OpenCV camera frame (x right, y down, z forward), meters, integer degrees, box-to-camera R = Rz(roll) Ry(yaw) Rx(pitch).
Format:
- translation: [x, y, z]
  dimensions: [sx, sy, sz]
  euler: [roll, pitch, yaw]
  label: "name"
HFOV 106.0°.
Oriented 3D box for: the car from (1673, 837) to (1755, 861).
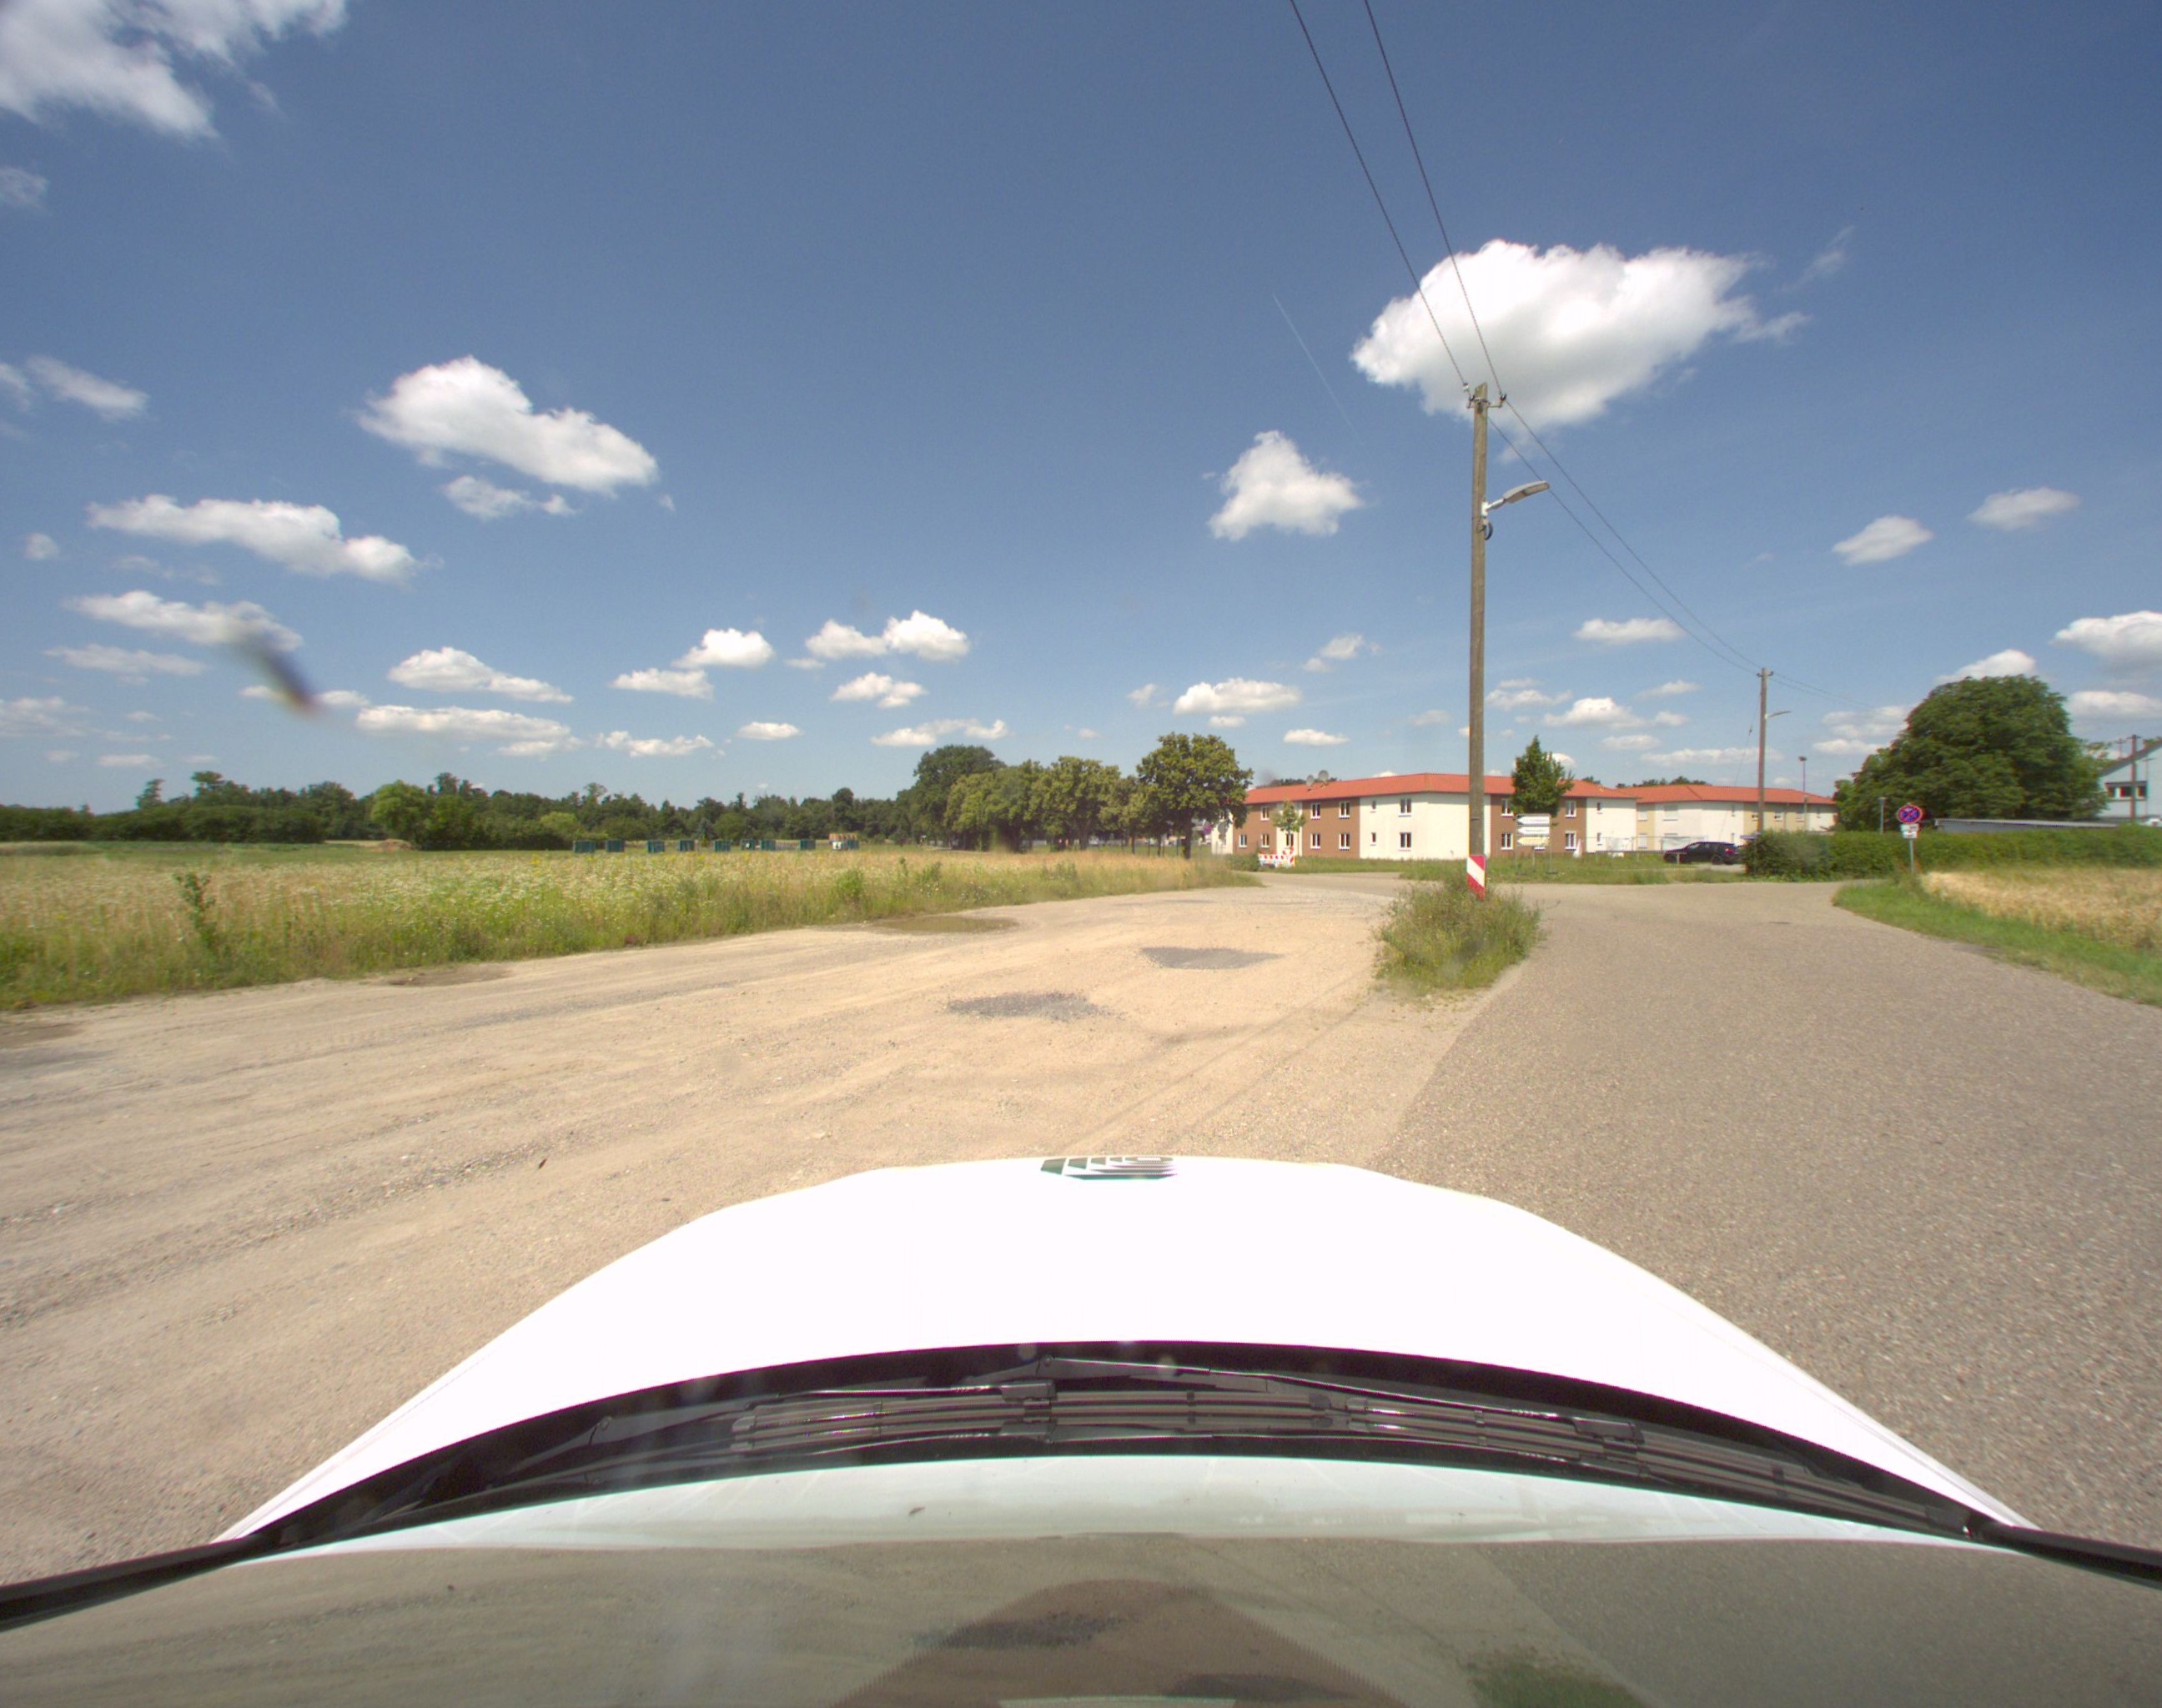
- translation: [44.581, -0.400, 57.436]
  dimensions: [2.003, 1.614, 4.116]
  euler: [0, 1, -24]
  label: "car"
